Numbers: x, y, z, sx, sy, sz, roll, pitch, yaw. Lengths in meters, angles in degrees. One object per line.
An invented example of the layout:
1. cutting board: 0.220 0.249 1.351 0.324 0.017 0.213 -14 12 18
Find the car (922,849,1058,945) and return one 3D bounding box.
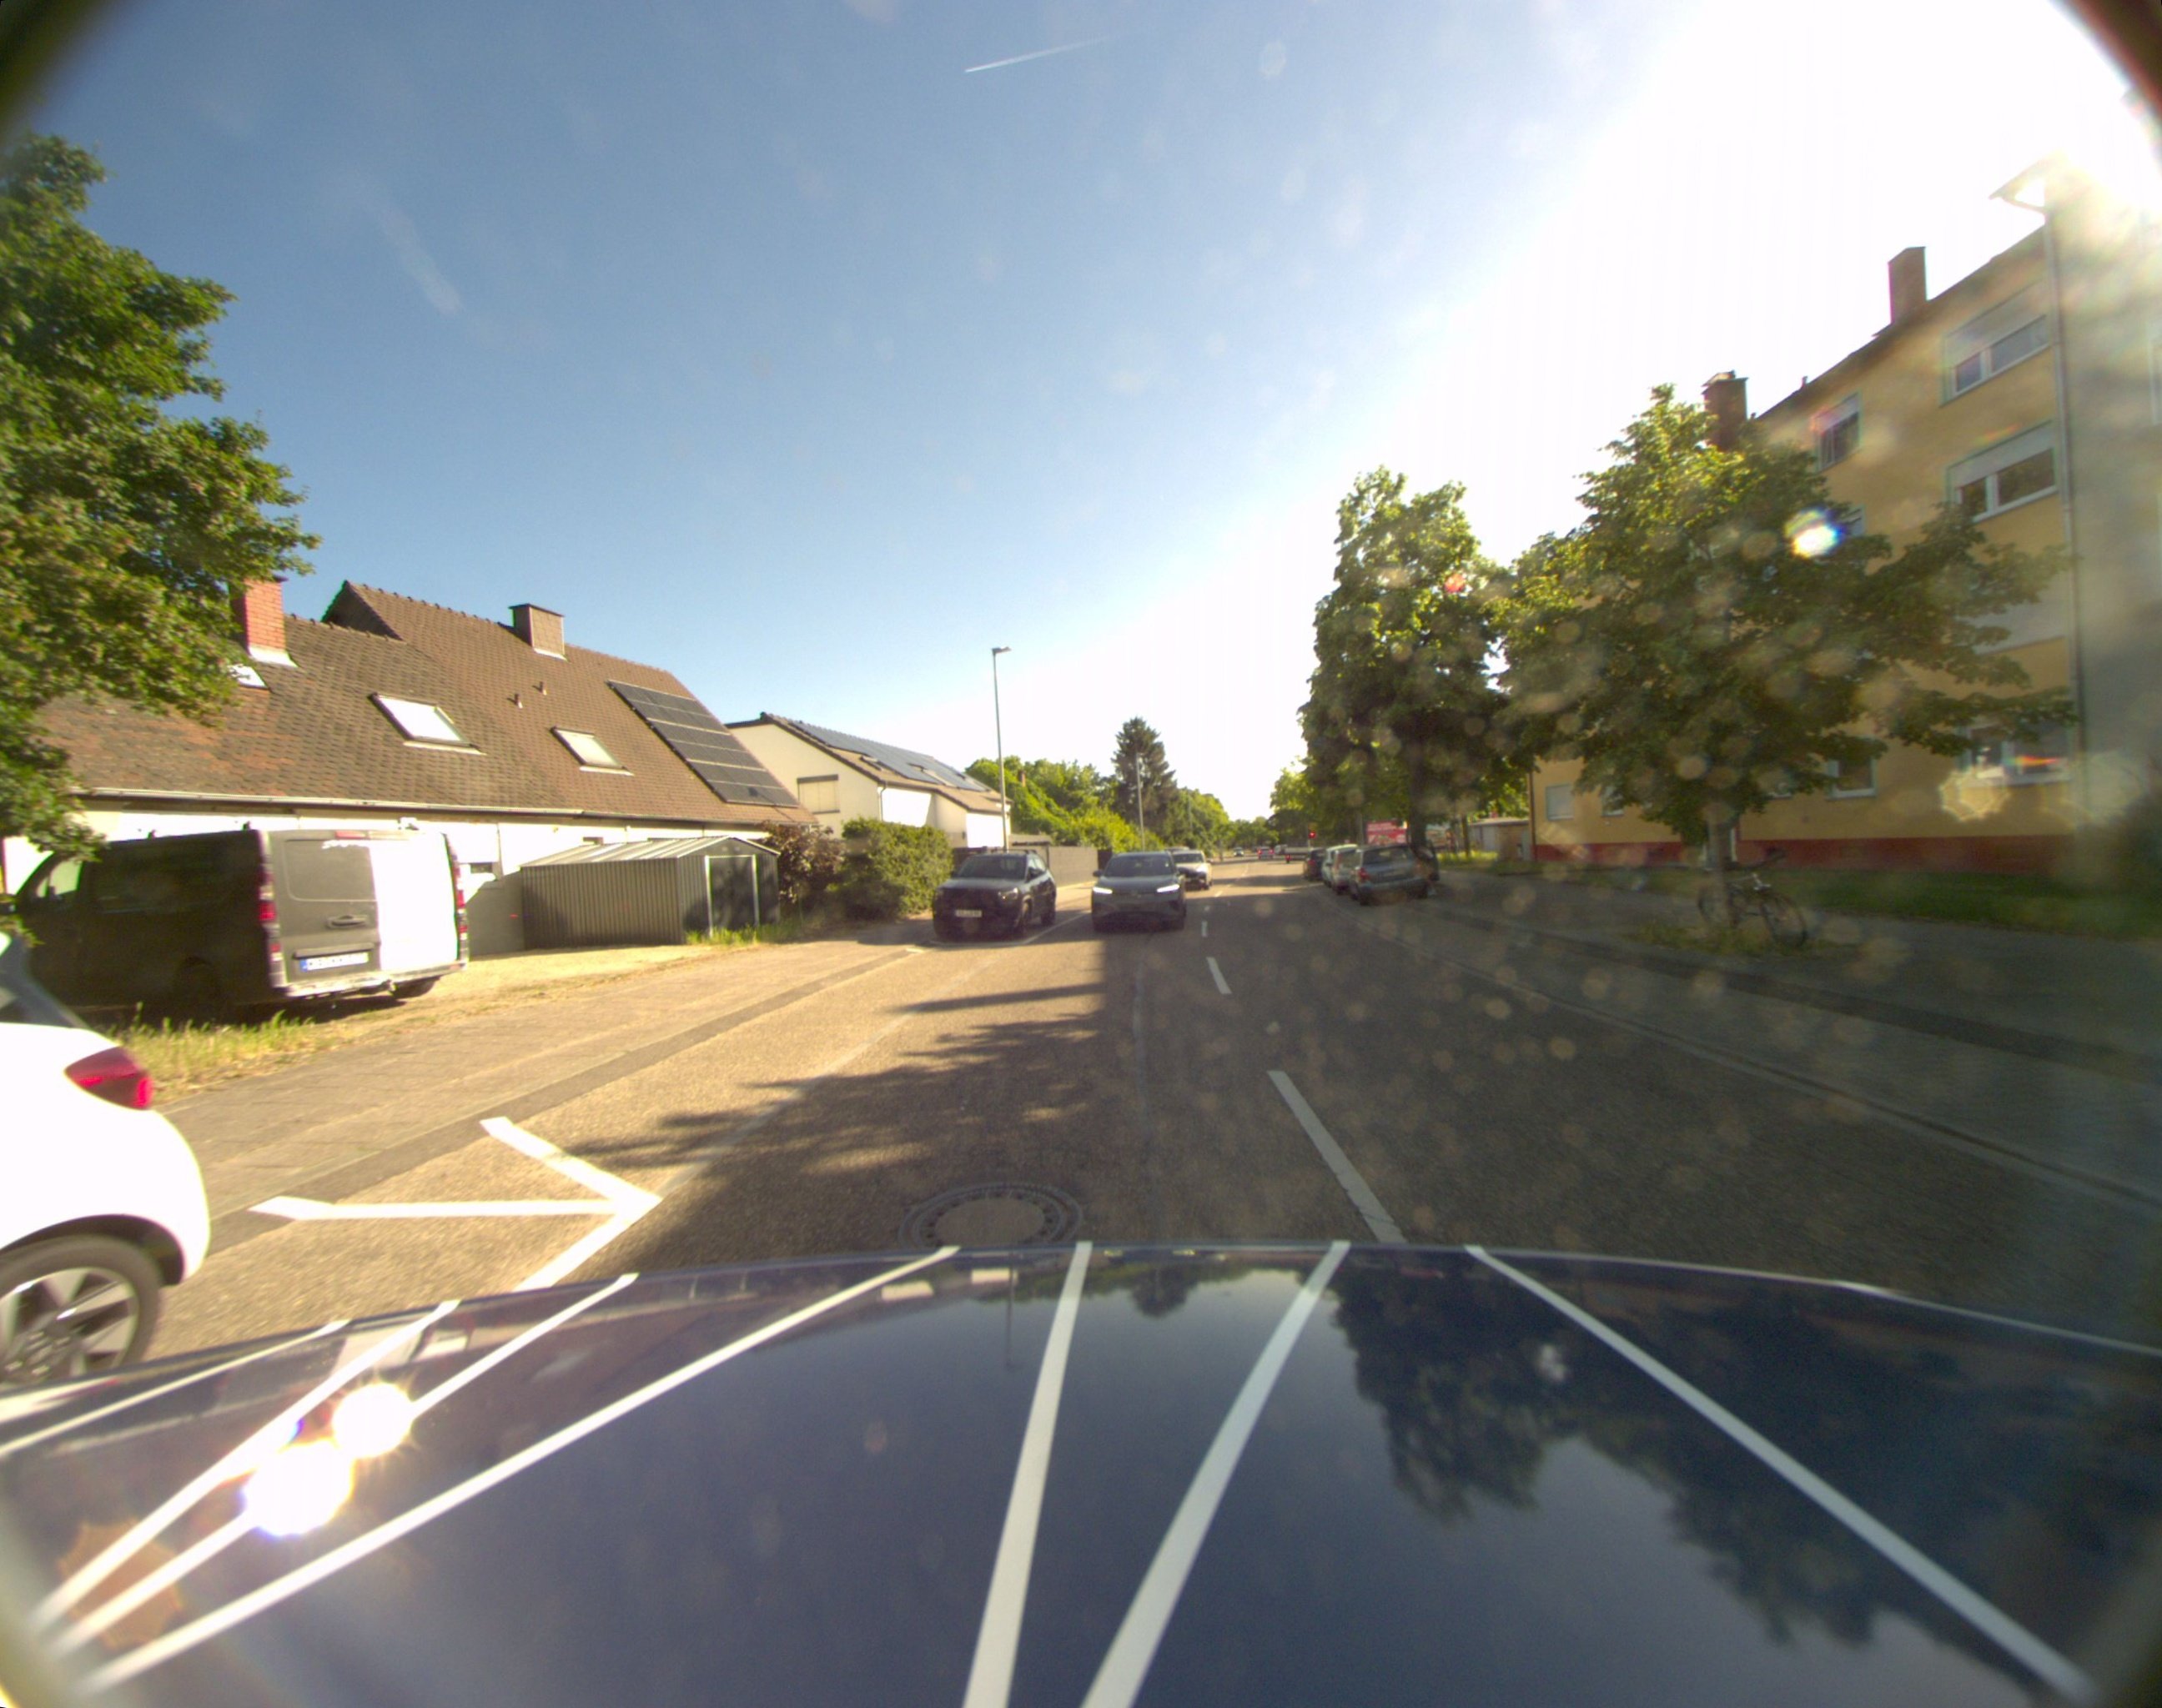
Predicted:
1. car: -1.733 0.791 15.699 1.776 1.727 3.707 0 0 10

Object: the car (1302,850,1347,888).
1. car: 11.023 0.652 34.612 1.650 1.530 3.708 -3 -1 14

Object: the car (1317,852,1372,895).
1. car: 10.336 0.718 29.972 1.650 1.530 3.708 -3 -1 14

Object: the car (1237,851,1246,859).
1. car: 32.308 0.167 153.173 1.546 1.456 3.707 -3 -1 10

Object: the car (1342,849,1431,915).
1. car: 8.038 0.692 20.310 1.650 1.530 3.708 -3 -1 14

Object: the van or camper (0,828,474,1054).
1. van or camper: -9.041 0.852 8.168 3.846 2.002 1.953 -3 0 15

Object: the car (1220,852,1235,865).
1. car: 17.682 0.539 92.068 1.639 1.568 3.707 -3 -1 10

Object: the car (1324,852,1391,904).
1. car: 9.092 0.742 25.202 1.650 1.530 3.708 -3 -1 14

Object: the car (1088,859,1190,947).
1. car: 1.375 0.963 16.570 1.776 1.624 3.707 -3 -1 10

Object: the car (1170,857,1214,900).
1. car: 4.505 0.939 30.619 1.579 1.568 3.707 -3 -1 10

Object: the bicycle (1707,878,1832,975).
1. bicycle: 7.828 0.792 8.698 0.358 1.001 1.200 -4 -1 6

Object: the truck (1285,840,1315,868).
1. truck: 19.899 -0.053 68.859 2.410 2.353 4.531 -3 0 17

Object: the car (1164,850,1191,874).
1. car: 6.890 0.522 53.954 1.639 1.568 3.707 -3 -1 10

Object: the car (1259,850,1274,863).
1. car: 23.635 0.330 97.086 1.546 1.456 3.707 -3 -1 10

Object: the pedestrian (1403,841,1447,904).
1. pedestrian: 9.089 0.479 20.070 0.959 1.619 0.734 -3 0 26

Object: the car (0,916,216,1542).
1. car: -3.616 0.977 0.573 1.637 1.565 3.704 0 0 1

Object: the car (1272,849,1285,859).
1. car: 30.066 0.041 115.741 1.546 1.456 3.707 -3 -1 10
